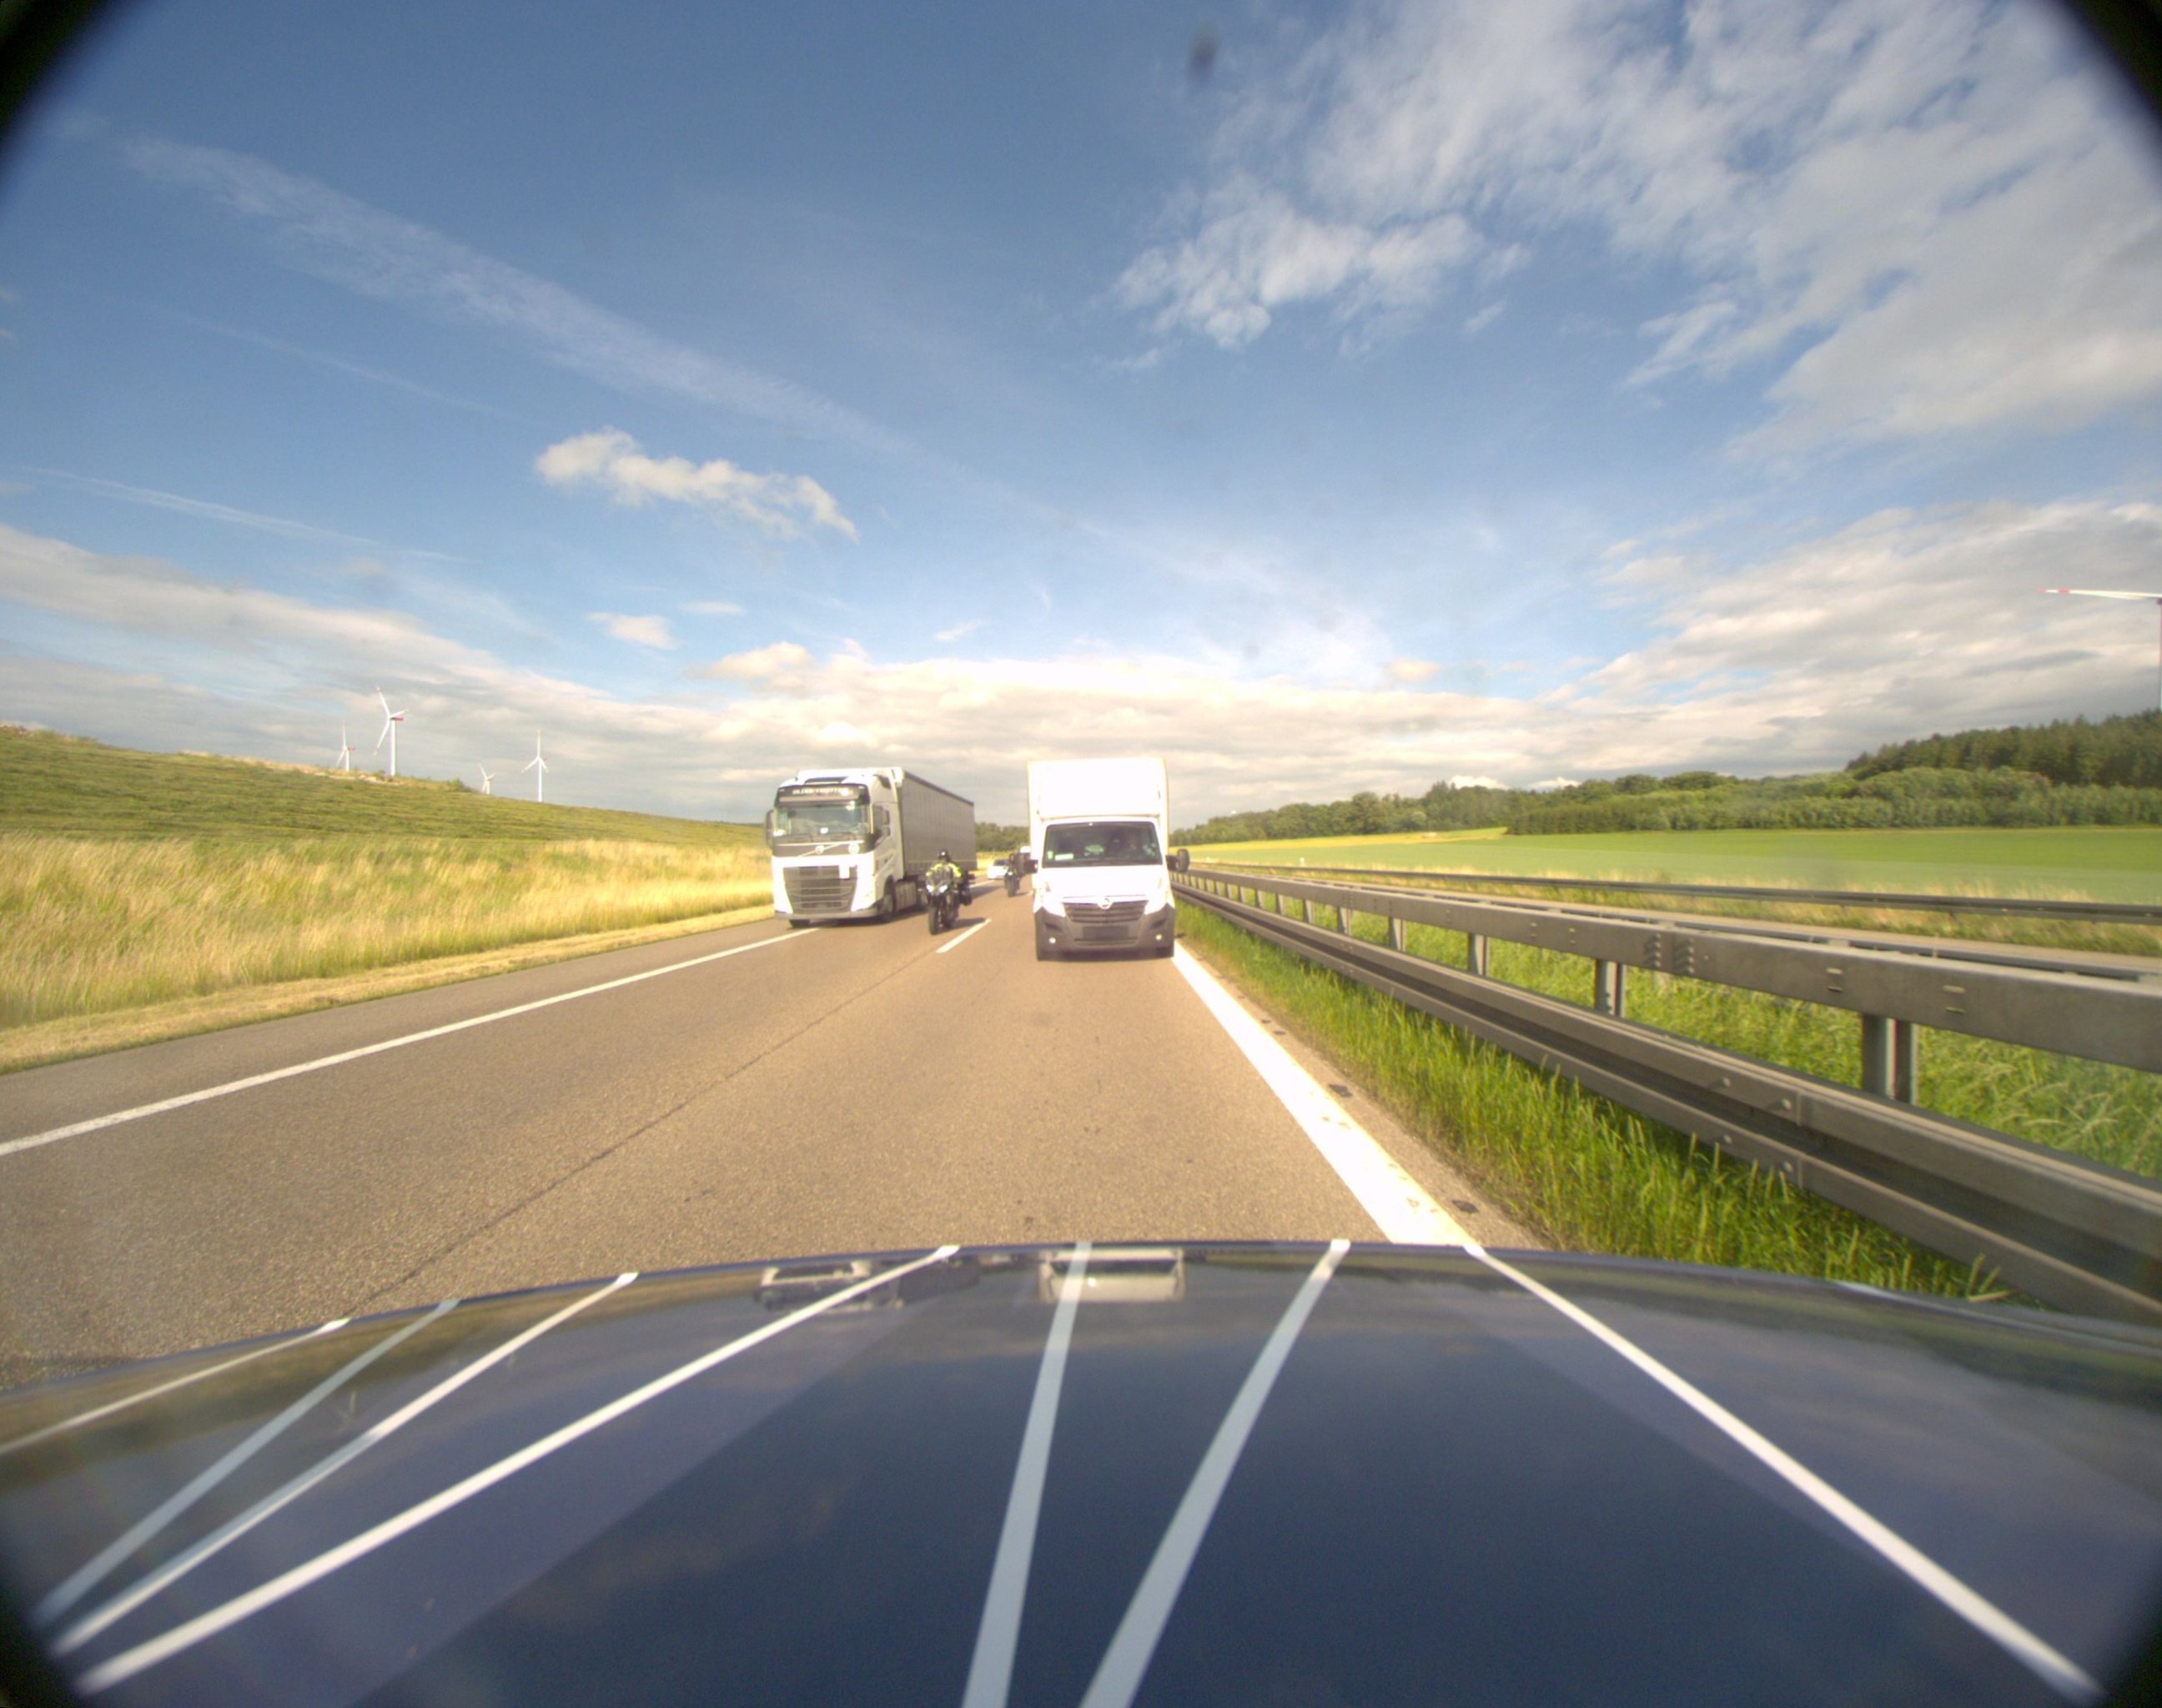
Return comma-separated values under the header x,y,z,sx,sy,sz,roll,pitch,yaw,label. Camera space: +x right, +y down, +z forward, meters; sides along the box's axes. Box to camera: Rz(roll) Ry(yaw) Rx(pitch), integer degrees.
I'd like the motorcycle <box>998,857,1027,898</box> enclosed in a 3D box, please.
x,y,z,sx,sy,sz,roll,pitch,yaw,label
-2.629,0.876,29.277,0.898,1.447,1.982,-2,1,0,motorcycle

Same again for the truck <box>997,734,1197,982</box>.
x,y,z,sx,sy,sz,roll,pitch,yaw,label
0.199,0.064,15.394,2.502,3.141,11.162,-2,0,0,truck

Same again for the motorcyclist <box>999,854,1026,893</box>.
x,y,z,sx,sy,sz,roll,pitch,yaw,label
-2.624,0.727,29.294,0.898,1.447,0.892,-2,1,0,motorcyclist

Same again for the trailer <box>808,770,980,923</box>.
x,y,z,sx,sy,sz,roll,pitch,yaw,label
-5.858,-0.232,26.991,2.623,4.017,13.697,-1,0,0,trailer

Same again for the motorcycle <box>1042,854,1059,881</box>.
x,y,z,sx,sy,sz,roll,pitch,yaw,label
-1.774,0.773,44.596,0.898,1.447,2.269,-2,1,0,motorcycle

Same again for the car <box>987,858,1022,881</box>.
x,y,z,sx,sy,sz,roll,pitch,yaw,label
-5.295,1.021,53.157,1.871,1.409,4.461,-1,1,1,car

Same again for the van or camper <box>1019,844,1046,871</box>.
x,y,z,sx,sy,sz,roll,pitch,yaw,label
-4.632,0.276,74.017,2.102,2.530,6.412,-1,1,1,van or camper

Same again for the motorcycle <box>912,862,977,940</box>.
x,y,z,sx,sy,sz,roll,pitch,yaw,label
-2.815,0.930,15.928,0.898,1.447,2.269,-2,1,0,motorcycle

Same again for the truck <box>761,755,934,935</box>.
x,y,z,sx,sy,sz,roll,pitch,yaw,label
-5.862,-0.217,20.255,2.607,4.017,6.119,-1,0,0,truck

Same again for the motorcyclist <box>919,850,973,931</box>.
x,y,z,sx,sy,sz,roll,pitch,yaw,label
-2.815,0.742,15.943,0.898,1.608,1.022,-2,1,0,motorcyclist
